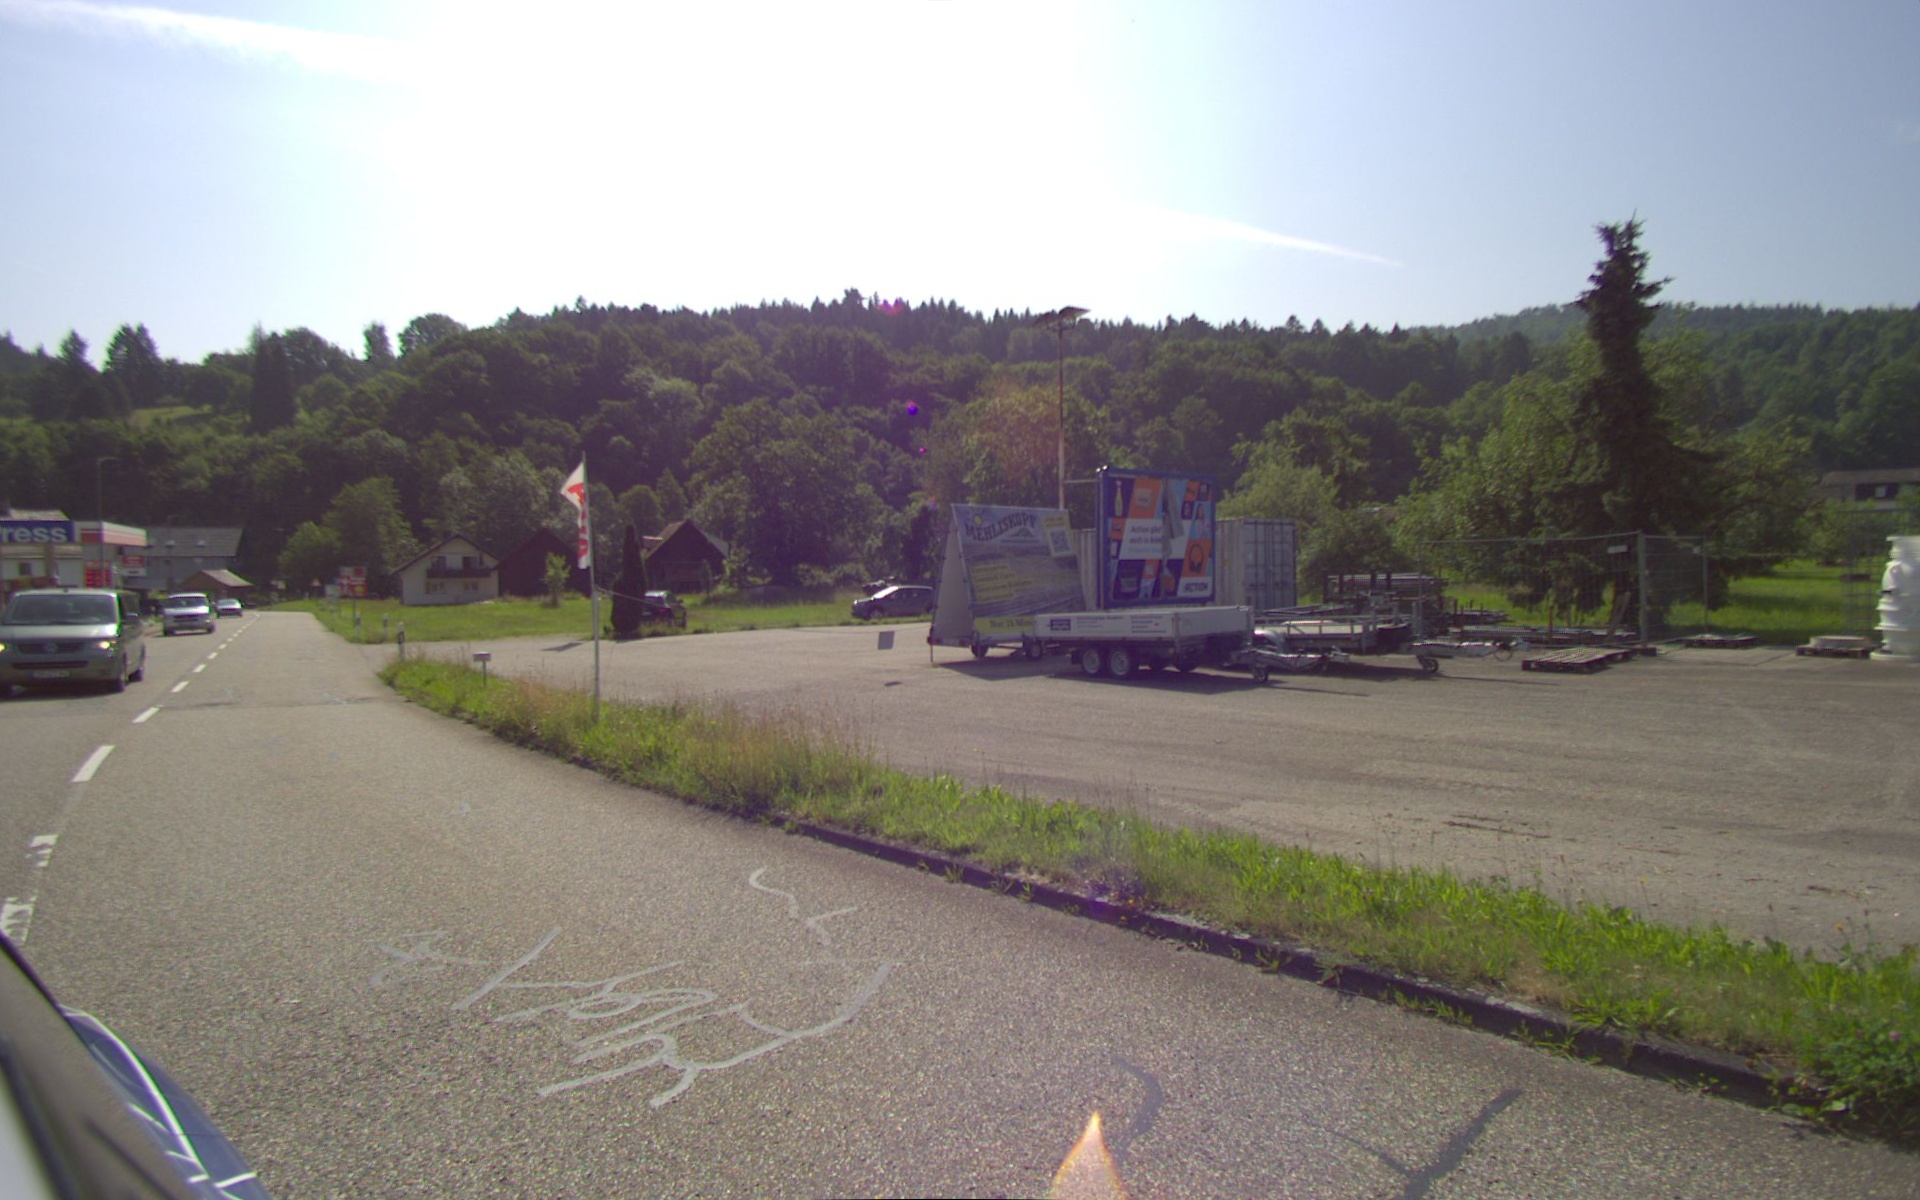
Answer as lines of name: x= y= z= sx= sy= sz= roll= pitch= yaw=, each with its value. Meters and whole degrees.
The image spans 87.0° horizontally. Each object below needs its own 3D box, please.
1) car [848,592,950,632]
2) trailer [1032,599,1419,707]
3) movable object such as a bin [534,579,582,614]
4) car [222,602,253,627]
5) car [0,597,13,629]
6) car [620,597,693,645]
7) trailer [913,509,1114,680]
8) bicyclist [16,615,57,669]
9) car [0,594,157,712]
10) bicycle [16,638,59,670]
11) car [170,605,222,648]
car: x=-2.570 y=0.491 z=42.738 sx=3.865 sy=1.496 sz=1.924 roll=-2 pitch=0 yaw=-20
trailer: x=3.706 y=0.661 z=15.269 sx=1.968 sy=1.235 sz=5.557 roll=-4 pitch=2 yaw=-38
movable object such as a bin: x=-38.518 y=-0.349 z=97.005 sx=4.120 sy=3.161 sz=2.210 roll=-2 pitch=1 yaw=-19
car: x=-58.065 y=1.124 z=81.362 sx=1.739 sy=1.758 sz=3.992 roll=-3 pitch=3 yaw=-32
car: x=-58.833 y=0.829 z=61.141 sx=1.658 sy=1.829 sz=4.011 roll=-4 pitch=3 yaw=-34
car: x=-11.759 y=0.752 z=39.492 sx=1.808 sy=1.661 sz=4.915 roll=-2 pitch=1 yaw=-6
trailer: x=1.055 y=-0.164 z=19.247 sx=3.350 sy=2.933 sz=1.886 roll=-4 pitch=2 yaw=-41
bicyclist: x=-29.708 y=1.358 z=32.550 sx=1.139 sy=1.645 sz=0.682 roll=-4 pitch=1 yaw=38
car: x=-17.050 y=0.922 z=19.647 sx=1.992 sy=1.997 sz=5.061 roll=0 pitch=0 yaw=-35
bicycle: x=-29.652 y=1.756 z=32.516 sx=1.947 sy=0.924 sz=0.682 roll=-4 pitch=1 yaw=39
car: x=-36.458 y=1.225 z=48.278 sx=1.866 sy=1.871 sz=4.713 roll=-2 pitch=1 yaw=-37
